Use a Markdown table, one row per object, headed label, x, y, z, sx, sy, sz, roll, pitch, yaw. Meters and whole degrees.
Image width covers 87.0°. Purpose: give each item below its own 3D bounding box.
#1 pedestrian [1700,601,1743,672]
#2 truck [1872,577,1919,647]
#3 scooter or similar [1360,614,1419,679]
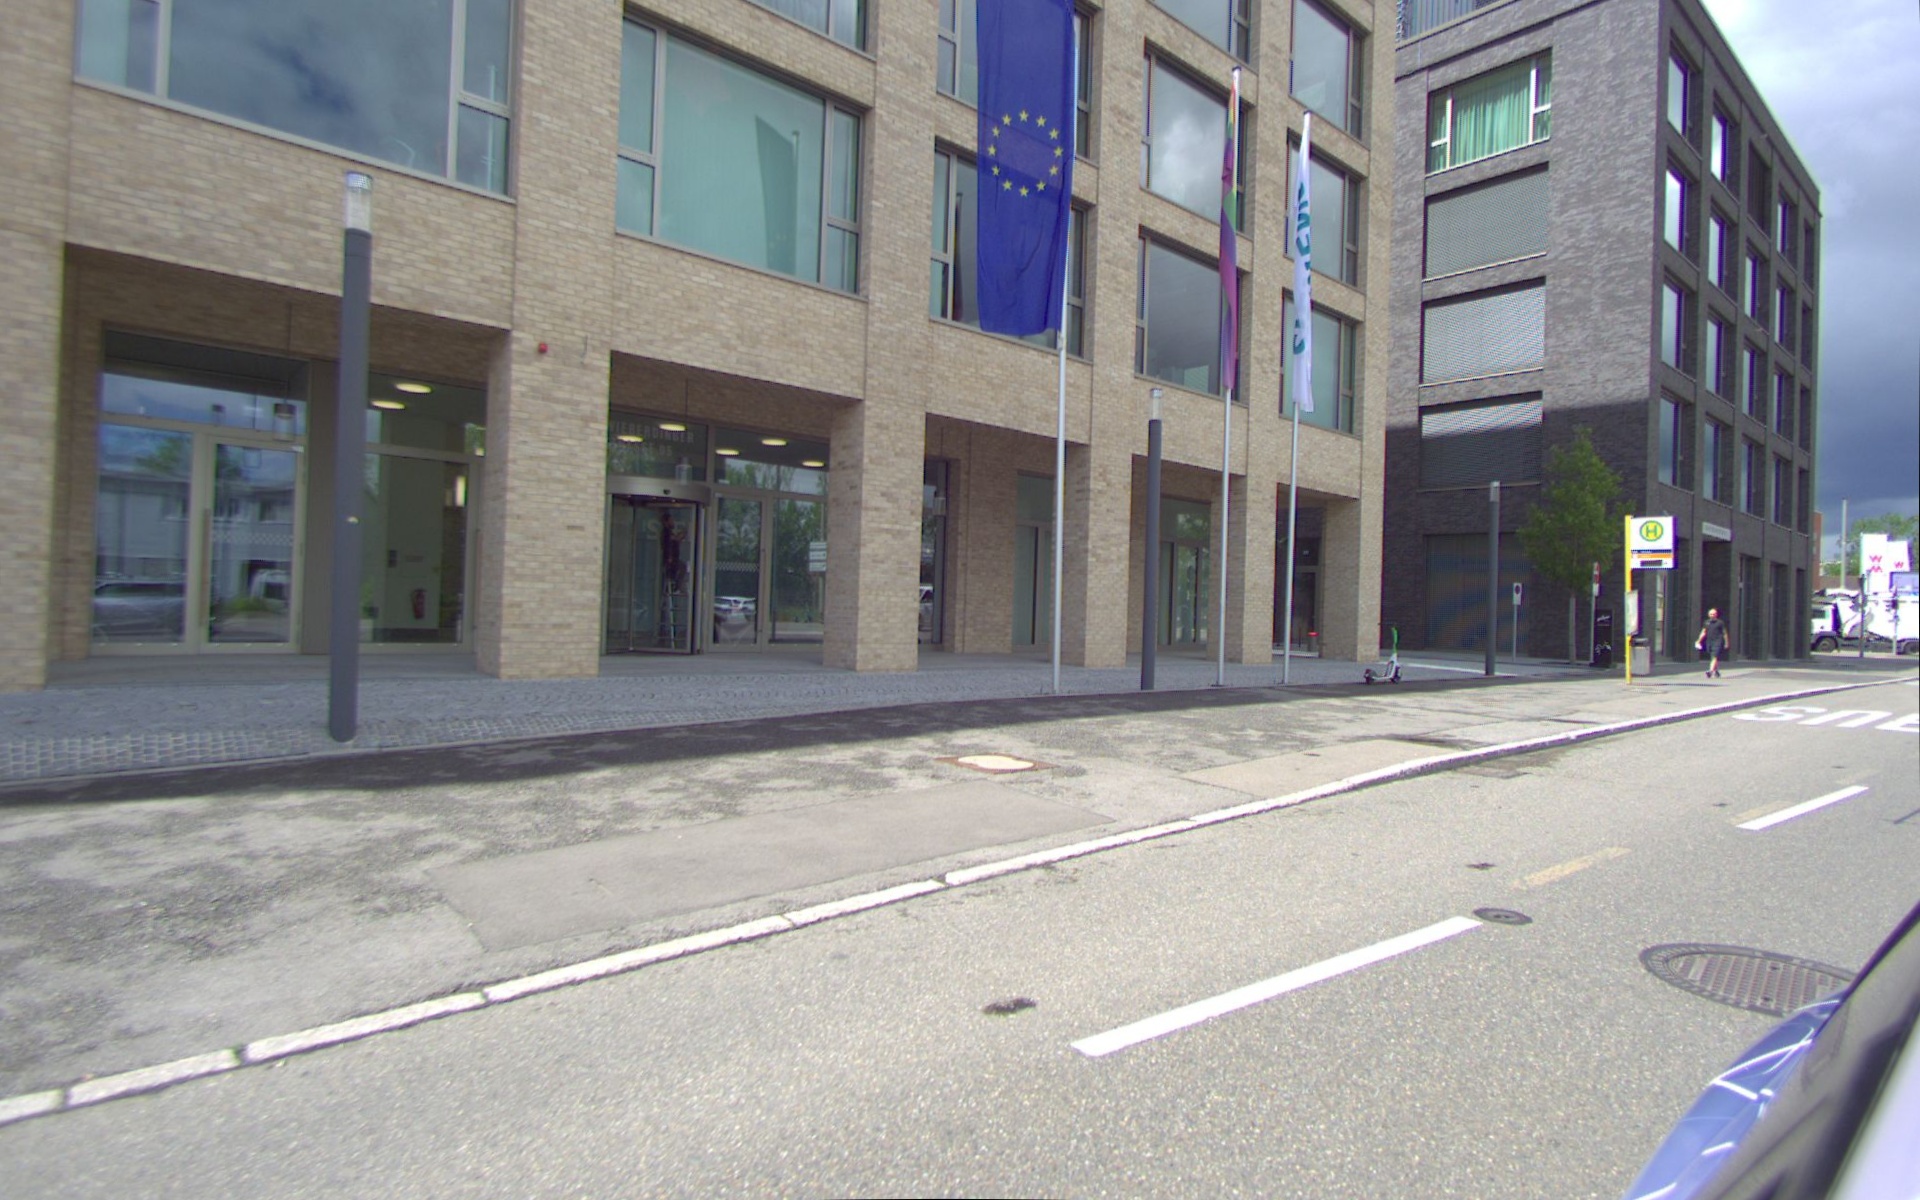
| label | x | y | z | sx | sy | sz | roll | pitch | yaw |
| --- | --- | --- | --- | --- | --- | --- | --- | --- | --- |
| pedestrian | 19.240 | 0.912 | 25.563 | 0.945 | 1.750 | 0.684 | 2 | -1 | -40 |
| truck | 58.070 | 0.768 | 61.070 | 10.176 | 3.961 | 2.836 | 1 | 1 | -39 |
| scooter or similar | 8.007 | 0.851 | 18.849 | 1.379 | 1.167 | 0.428 | 1 | 1 | -41 |
